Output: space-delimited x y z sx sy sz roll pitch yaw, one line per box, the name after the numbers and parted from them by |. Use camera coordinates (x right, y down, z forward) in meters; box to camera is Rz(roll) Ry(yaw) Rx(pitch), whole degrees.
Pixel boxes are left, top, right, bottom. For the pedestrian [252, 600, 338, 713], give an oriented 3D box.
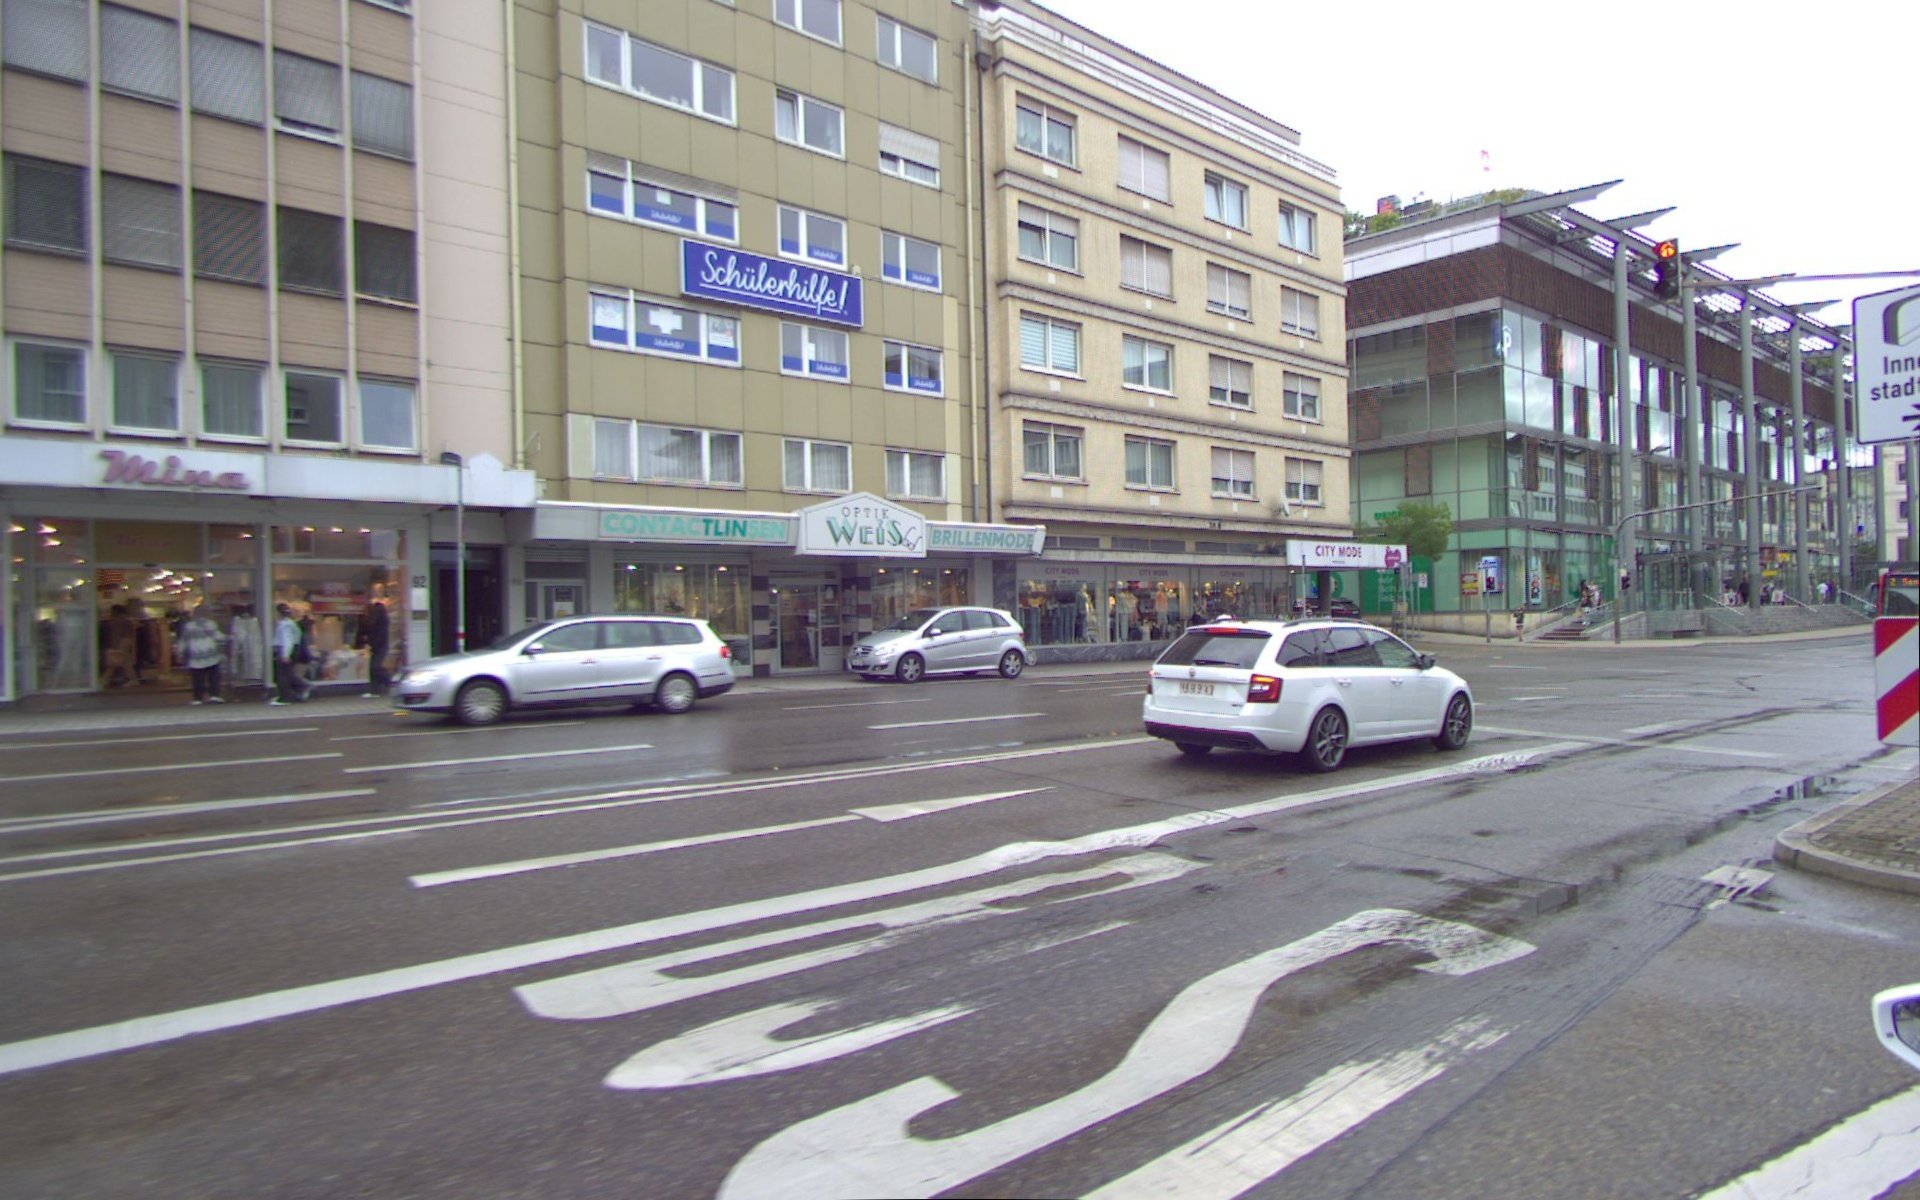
-10.766 0.872 16.266 1.081 1.737 0.944 -1 1 -39 | pedestrian

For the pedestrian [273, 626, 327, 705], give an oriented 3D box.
-11.177 1.092 17.004 0.714 1.266 0.530 -1 1 -39 | pedestrian

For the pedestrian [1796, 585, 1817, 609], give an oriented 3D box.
62.831 -0.208 74.562 1.000 1.735 1.029 0 0 -42 | pedestrian

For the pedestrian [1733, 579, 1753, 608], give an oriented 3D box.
47.415 -0.394 60.806 0.796 1.735 0.820 0 0 -42 | pedestrian

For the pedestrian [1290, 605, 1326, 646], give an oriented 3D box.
13.959 1.016 40.289 1.142 1.607 0.866 1 -1 -34 | pedestrian

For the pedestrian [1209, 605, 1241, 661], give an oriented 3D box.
7.907 0.964 29.981 0.828 1.649 0.775 1 0 10 | pedestrian

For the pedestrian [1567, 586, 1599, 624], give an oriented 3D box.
29.355 0.229 47.336 1.000 1.735 1.029 0 0 -42 | pedestrian

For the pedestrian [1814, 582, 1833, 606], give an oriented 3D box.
63.481 -0.428 73.828 0.984 1.735 0.929 0 0 -42 | pedestrian

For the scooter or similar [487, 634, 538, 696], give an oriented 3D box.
-8.184 1.172 18.383 0.695 1.068 0.730 -1 1 -38 | scooter or similar

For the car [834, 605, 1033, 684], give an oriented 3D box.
-0.531 0.919 22.085 4.160 1.584 1.688 0 0 -36 | car

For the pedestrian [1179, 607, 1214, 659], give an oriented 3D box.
7.274 0.994 30.885 0.675 1.557 0.778 0 0 -39 | pedestrian

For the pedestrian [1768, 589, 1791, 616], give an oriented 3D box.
54.516 0.176 66.827 1.000 1.735 1.029 0 0 -42 | pedestrian

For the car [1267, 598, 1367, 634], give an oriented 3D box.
17.269 0.729 48.698 4.237 1.567 1.794 2 1 44 | car

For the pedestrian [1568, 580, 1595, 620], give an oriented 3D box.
31.733 -0.007 51.307 0.966 2.007 0.874 0 0 -37 | pedestrian

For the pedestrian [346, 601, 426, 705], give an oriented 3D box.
-10.036 0.889 17.568 1.077 1.718 0.944 -1 1 -39 | pedestrian

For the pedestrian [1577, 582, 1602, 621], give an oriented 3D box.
32.503 0.070 51.869 0.842 2.007 0.868 0 0 -37 | pedestrian

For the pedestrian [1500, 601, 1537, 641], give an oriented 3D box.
24.676 0.924 44.407 0.989 1.735 1.040 0 0 -9 | pedestrian

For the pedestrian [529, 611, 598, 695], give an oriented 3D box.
-7.437 0.969 18.844 1.056 1.504 0.661 -1 1 -39 | pedestrian

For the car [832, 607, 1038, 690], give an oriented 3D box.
-0.490 0.983 22.211 4.360 1.571 1.833 -1 2 -38 | car

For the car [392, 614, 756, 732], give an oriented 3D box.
-5.540 0.945 14.759 4.710 1.465 1.772 1 0 -37 | car

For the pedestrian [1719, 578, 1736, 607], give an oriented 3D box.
46.849 -0.442 61.334 0.844 1.735 0.674 0 0 -42 | pedestrian

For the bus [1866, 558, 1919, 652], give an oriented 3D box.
41.480 0.296 41.315 18.306 3.365 2.899 1 0 -37 | bus

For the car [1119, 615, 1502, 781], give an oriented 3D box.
3.960 0.891 10.971 4.590 1.434 1.778 0 -1 -38 | car

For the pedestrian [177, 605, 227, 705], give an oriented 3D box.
-12.455 0.889 16.522 0.638 1.595 0.605 1 -1 -36 | pedestrian
